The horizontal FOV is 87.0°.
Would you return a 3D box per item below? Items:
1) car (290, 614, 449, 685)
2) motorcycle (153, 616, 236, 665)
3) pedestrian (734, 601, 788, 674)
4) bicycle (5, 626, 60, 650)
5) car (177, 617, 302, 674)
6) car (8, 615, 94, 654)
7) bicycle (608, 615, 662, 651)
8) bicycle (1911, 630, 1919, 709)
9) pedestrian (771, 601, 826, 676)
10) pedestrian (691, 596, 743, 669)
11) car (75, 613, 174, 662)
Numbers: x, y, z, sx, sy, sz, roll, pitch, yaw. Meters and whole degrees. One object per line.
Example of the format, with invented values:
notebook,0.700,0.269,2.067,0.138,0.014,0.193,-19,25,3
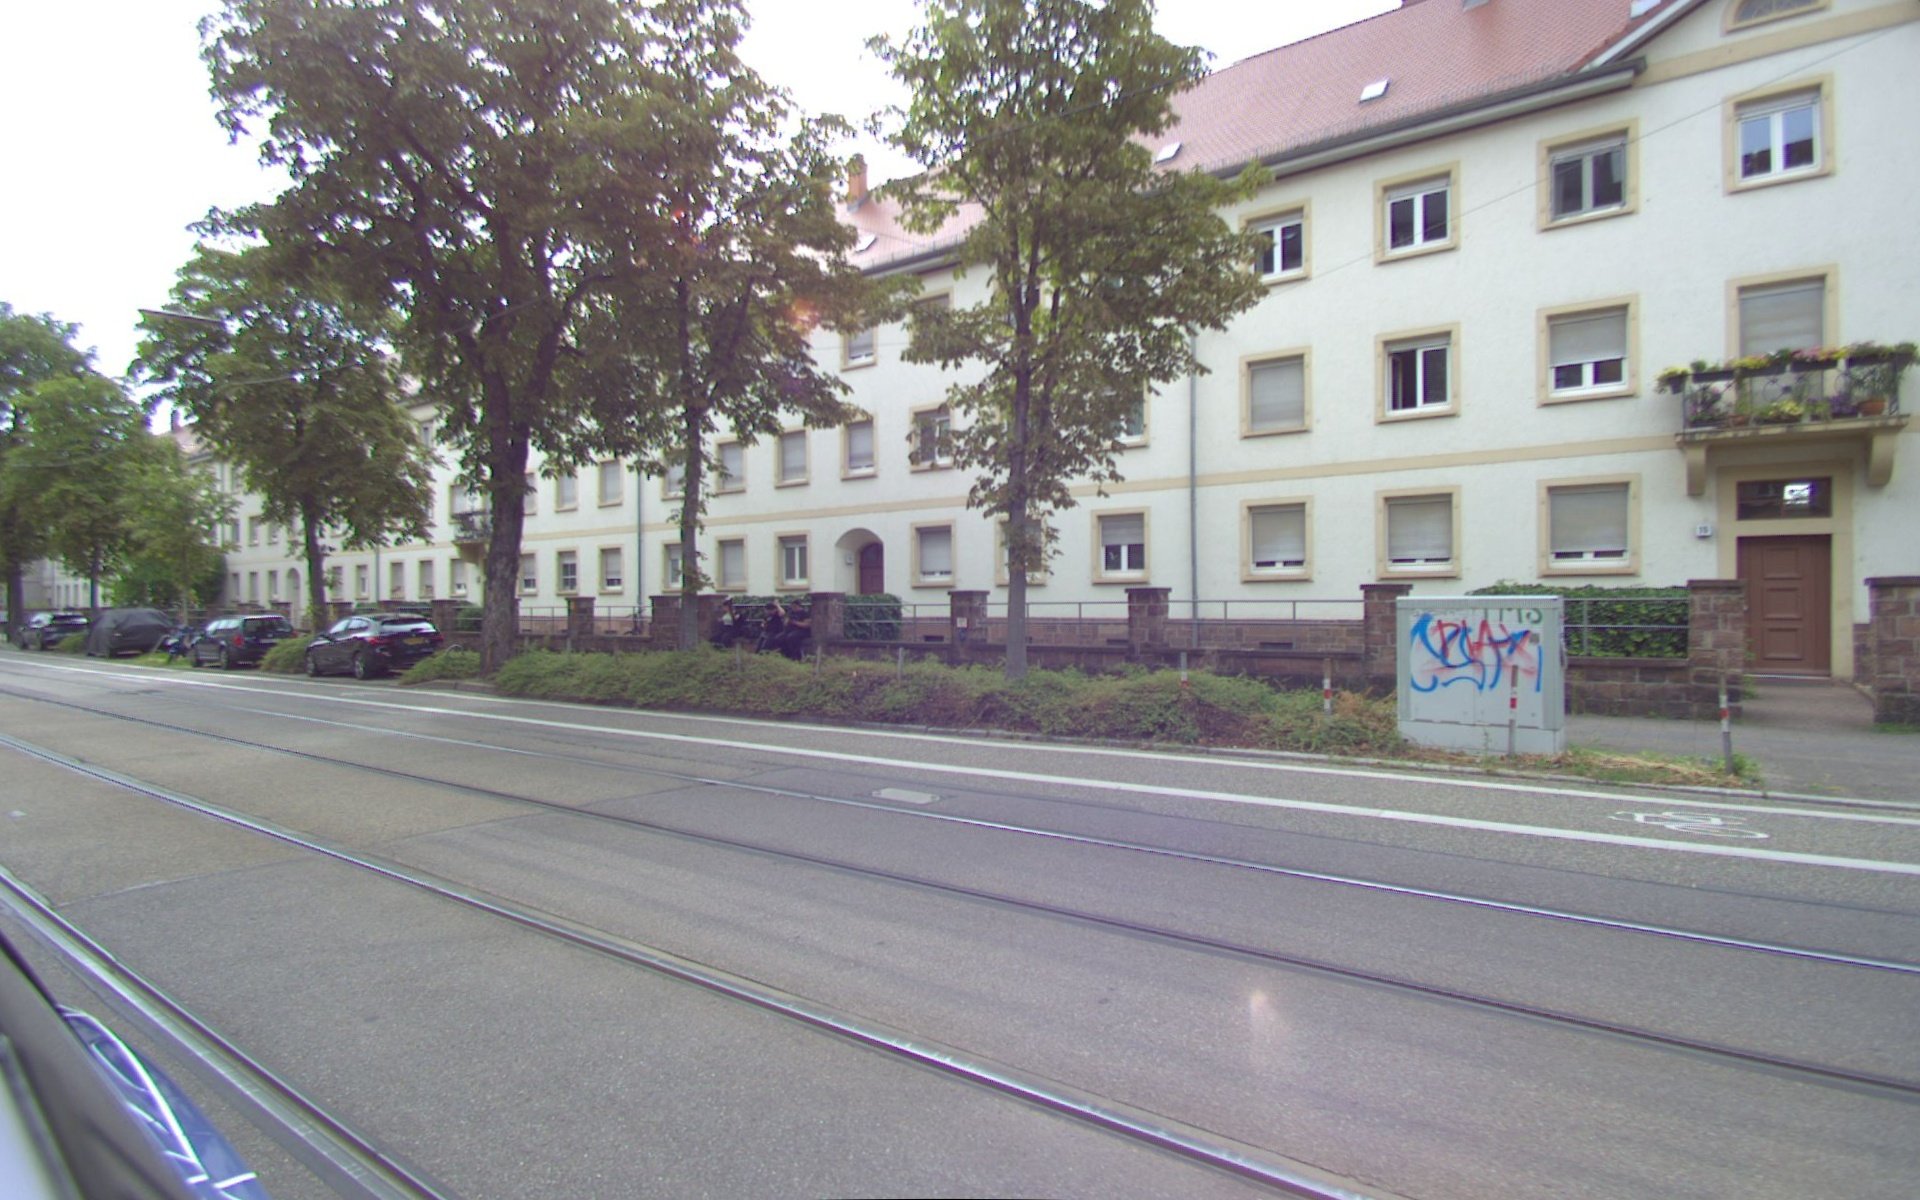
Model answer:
car,-13.932,1.100,23.807,4.293,1.434,1.681,-1,2,37
motorcycle,-23.441,1.230,31.023,0.590,1.269,1.852,-1,5,33
pedestrian,-4.122,0.770,20.998,0.730,1.476,0.826,-1,-1,32
bicycle,-40.436,1.650,44.153,0.670,0.978,1.656,-1,-1,28
car,-20.393,1.230,28.600,4.293,1.434,1.681,-1,1,37
car,-36.972,1.371,41.140,4.290,1.481,1.682,-1,-1,35
bicycle,-8.120,0.805,25.296,1.548,0.869,0.504,-1,-1,38
bicycle,12.149,0.816,11.667,1.669,0.922,0.473,-1,-1,38
pedestrian,-3.257,0.758,20.465,0.730,1.476,0.826,-1,-1,32
pedestrian,-5.233,0.691,21.840,0.730,1.524,0.826,-1,-1,32
car,-29.452,1.290,35.650,4.293,1.624,1.769,-1,-1,37
